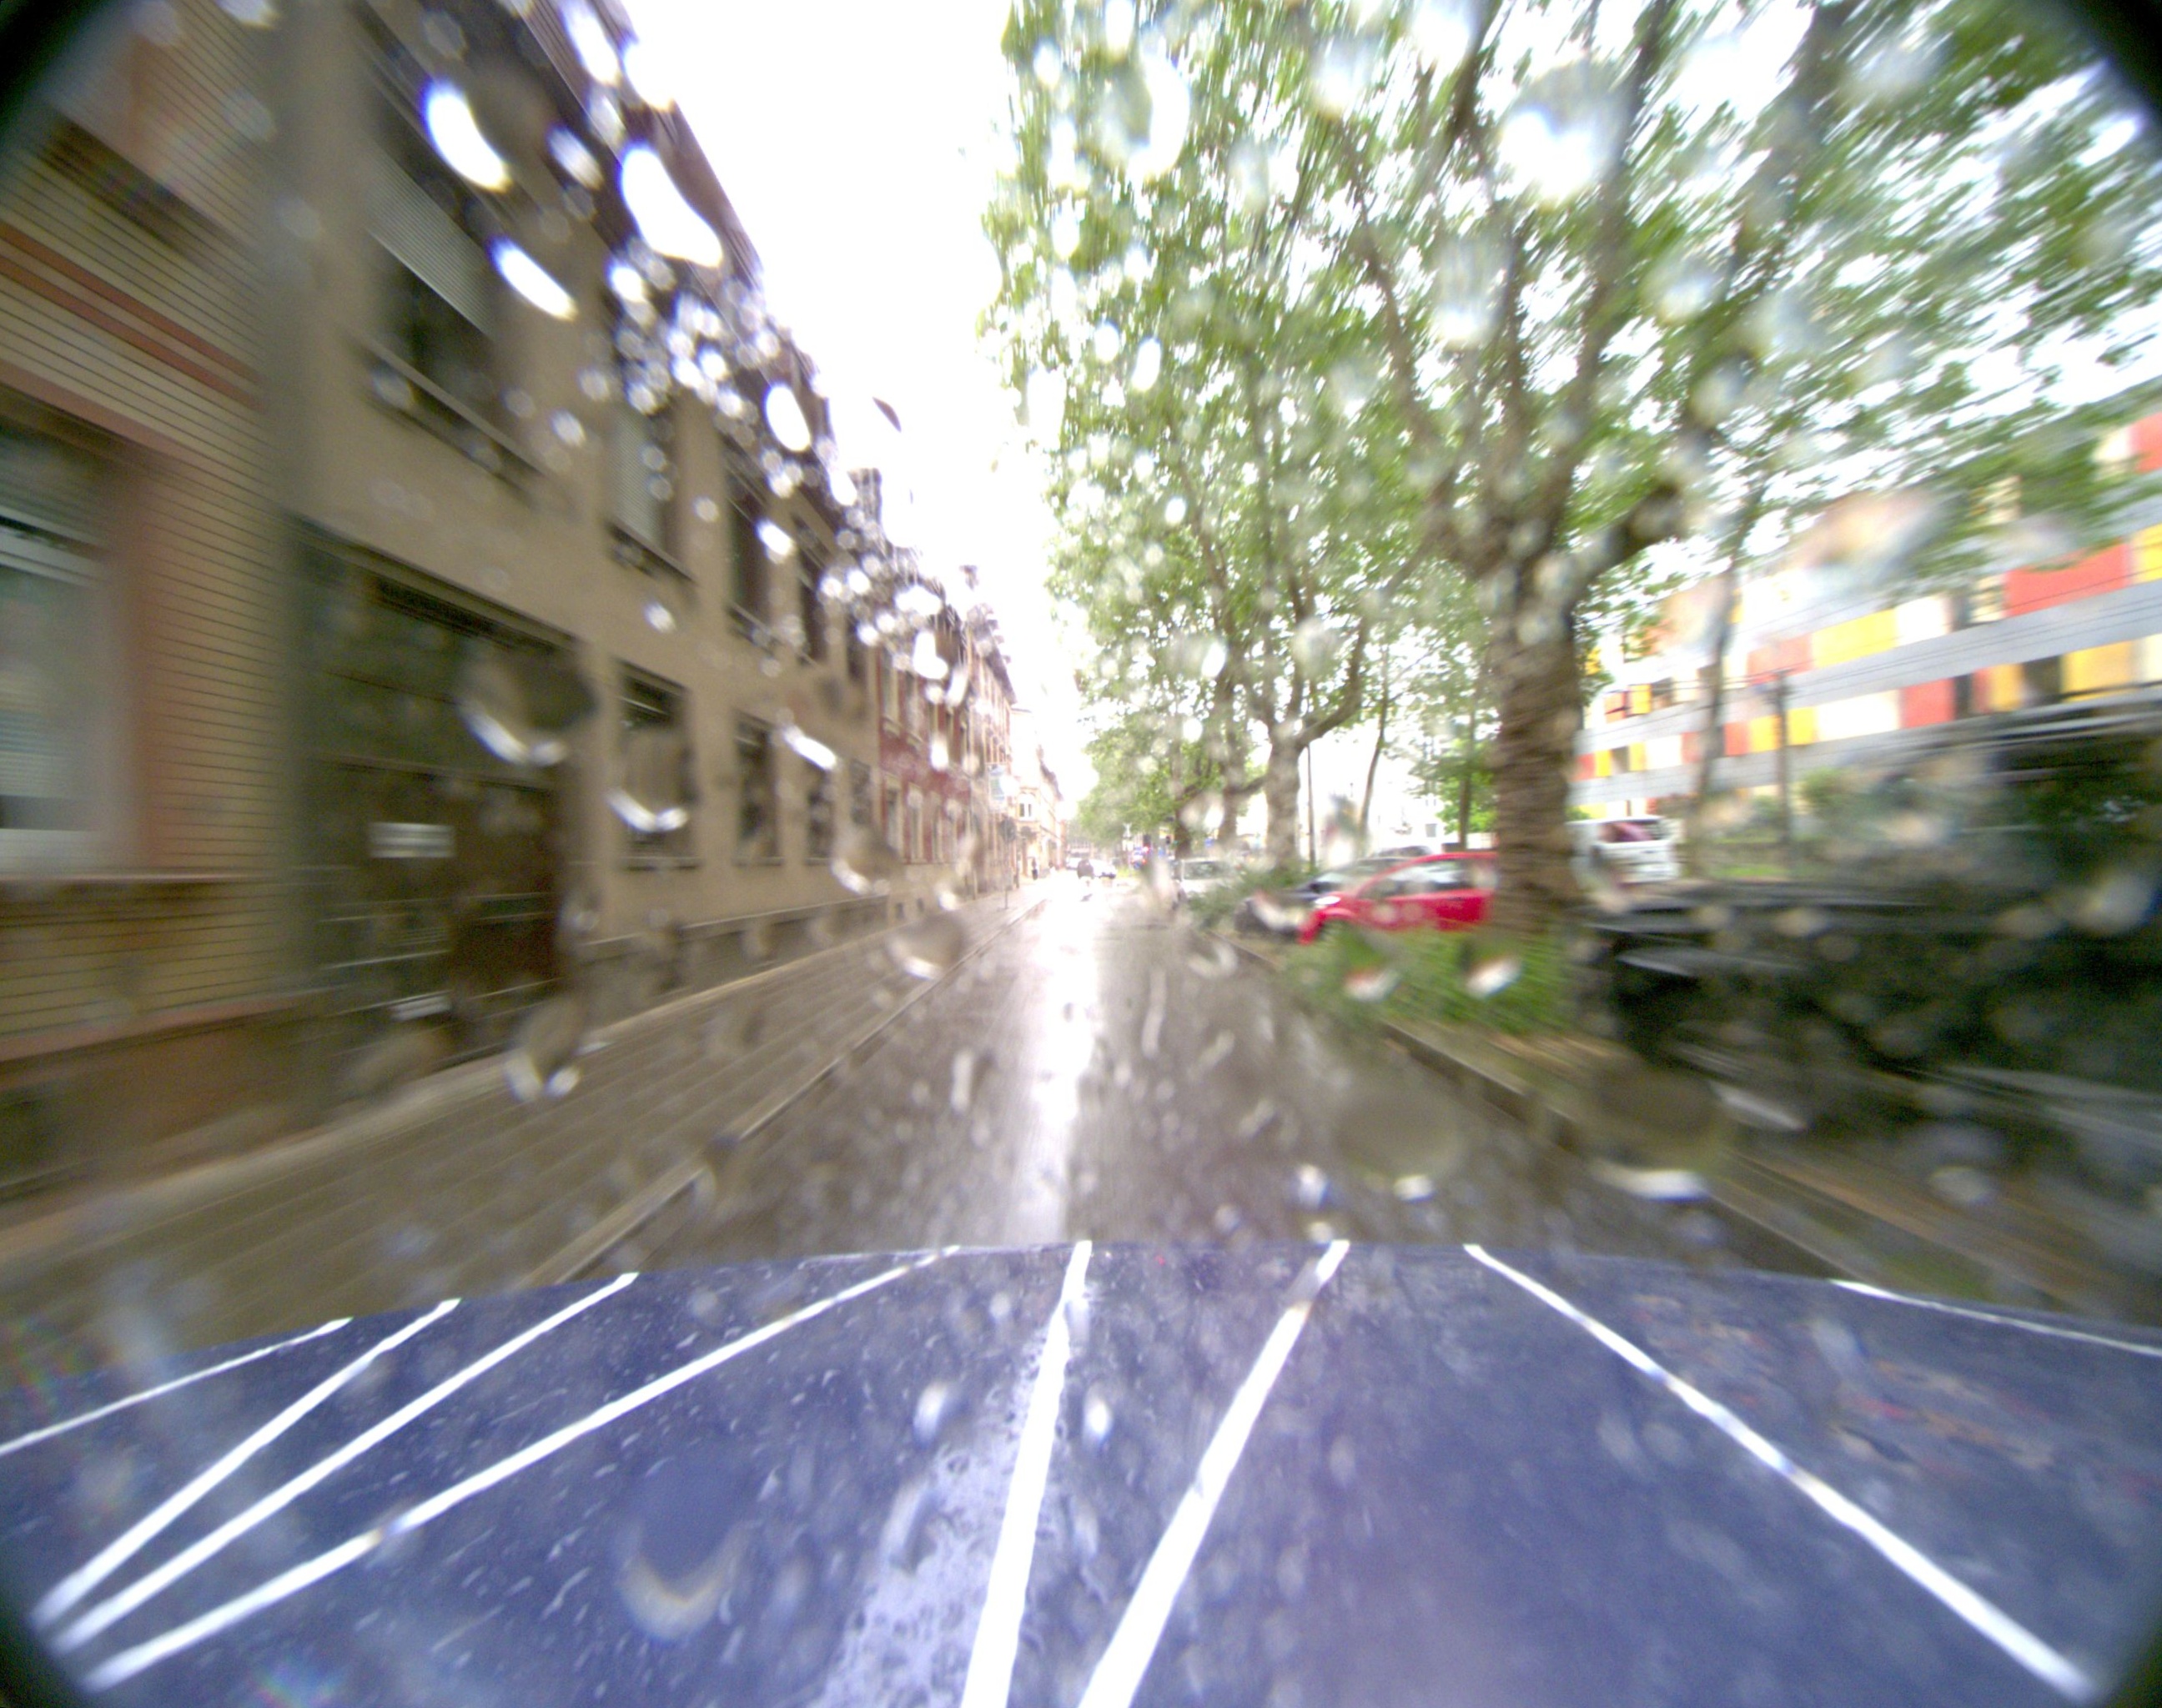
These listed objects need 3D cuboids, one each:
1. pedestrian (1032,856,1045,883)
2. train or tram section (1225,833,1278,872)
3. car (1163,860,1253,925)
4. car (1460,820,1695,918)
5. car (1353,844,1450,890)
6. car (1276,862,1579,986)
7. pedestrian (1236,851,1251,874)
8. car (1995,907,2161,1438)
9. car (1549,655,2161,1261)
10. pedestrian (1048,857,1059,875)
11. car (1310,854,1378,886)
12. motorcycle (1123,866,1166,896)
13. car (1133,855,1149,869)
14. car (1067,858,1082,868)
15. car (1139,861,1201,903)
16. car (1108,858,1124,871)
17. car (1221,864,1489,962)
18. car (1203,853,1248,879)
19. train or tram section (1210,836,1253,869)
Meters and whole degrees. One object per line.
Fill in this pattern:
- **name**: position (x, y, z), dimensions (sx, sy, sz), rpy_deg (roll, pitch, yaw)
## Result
- **pedestrian**: position (-3.046, 1.082, 54.221), dimensions (0.787, 1.902, 0.929), rpy_deg (2, 1, 0)
- **train or tram section**: position (17.406, -0.148, 78.438), dimensions (2.907, 3.621, 11.552), rpy_deg (-2, 0, 1)
- **car**: position (3.359, 0.966, 20.834), dimensions (1.733, 1.505, 4.208), rpy_deg (-3, 0, 1)
- **car**: position (12.055, 0.341, 19.088), dimensions (2.059, 1.985, 5.433), rpy_deg (-3, 0, -3)
- **car**: position (12.431, 0.487, 29.783), dimensions (1.909, 1.591, 4.468), rpy_deg (-2, 0, 1)
- **car**: position (4.668, 0.855, 10.445), dimensions (3.494, 1.427, 1.785), rpy_deg (-1, 0, 28)
- **pedestrian**: position (13.457, 0.694, 62.798), dimensions (0.938, 1.789, 1.206), rpy_deg (-2, 1, 0)
- **car**: position (4.714, 0.803, 0.665), dimensions (4.648, 1.318, 1.850), rpy_deg (-1, 0, 28)
- **car**: position (4.926, 0.381, 3.491), dimensions (4.648, 2.269, 2.016), rpy_deg (-1, 0, 30)
- **pedestrian**: position (-2.528, 1.113, 69.102), dimensions (0.849, 1.564, 0.576), rpy_deg (3, 0, 1)
- **car**: position (12.857, 0.759, 37.448), dimensions (1.908, 1.455, 4.389), rpy_deg (-2, 0, 2)
- **motorcycle**: position (3.258, 1.387, 39.095), dimensions (2.104, 1.491, 0.773), rpy_deg (-2, 1, 44)
- **car**: position (8.568, 1.106, 108.444), dimensions (1.937, 1.838, 4.067), rpy_deg (-2, 0, 1)
- **car**: position (-0.931, 1.329, 112.303), dimensions (1.976, 1.359, 4.162), rpy_deg (3, 0, 3)
- **car**: position (3.456, 1.049, 30.197), dimensions (1.901, 1.476, 4.622), rpy_deg (-3, 0, 1)
- **car**: position (4.200, 1.287, 91.348), dimensions (1.732, 1.473, 4.006), rpy_deg (-2, 0, 1)
- **car**: position (4.608, 0.920, 12.929), dimensions (4.036, 1.426, 1.785), rpy_deg (-1, 0, 26)
- **car**: position (8.528, 0.719, 45.133), dimensions (1.838, 1.411, 4.000), rpy_deg (-2, 0, 0)
- **train or tram section**: position (17.627, -0.165, 89.998), dimensions (2.907, 3.621, 11.552), rpy_deg (-2, 0, 1)
